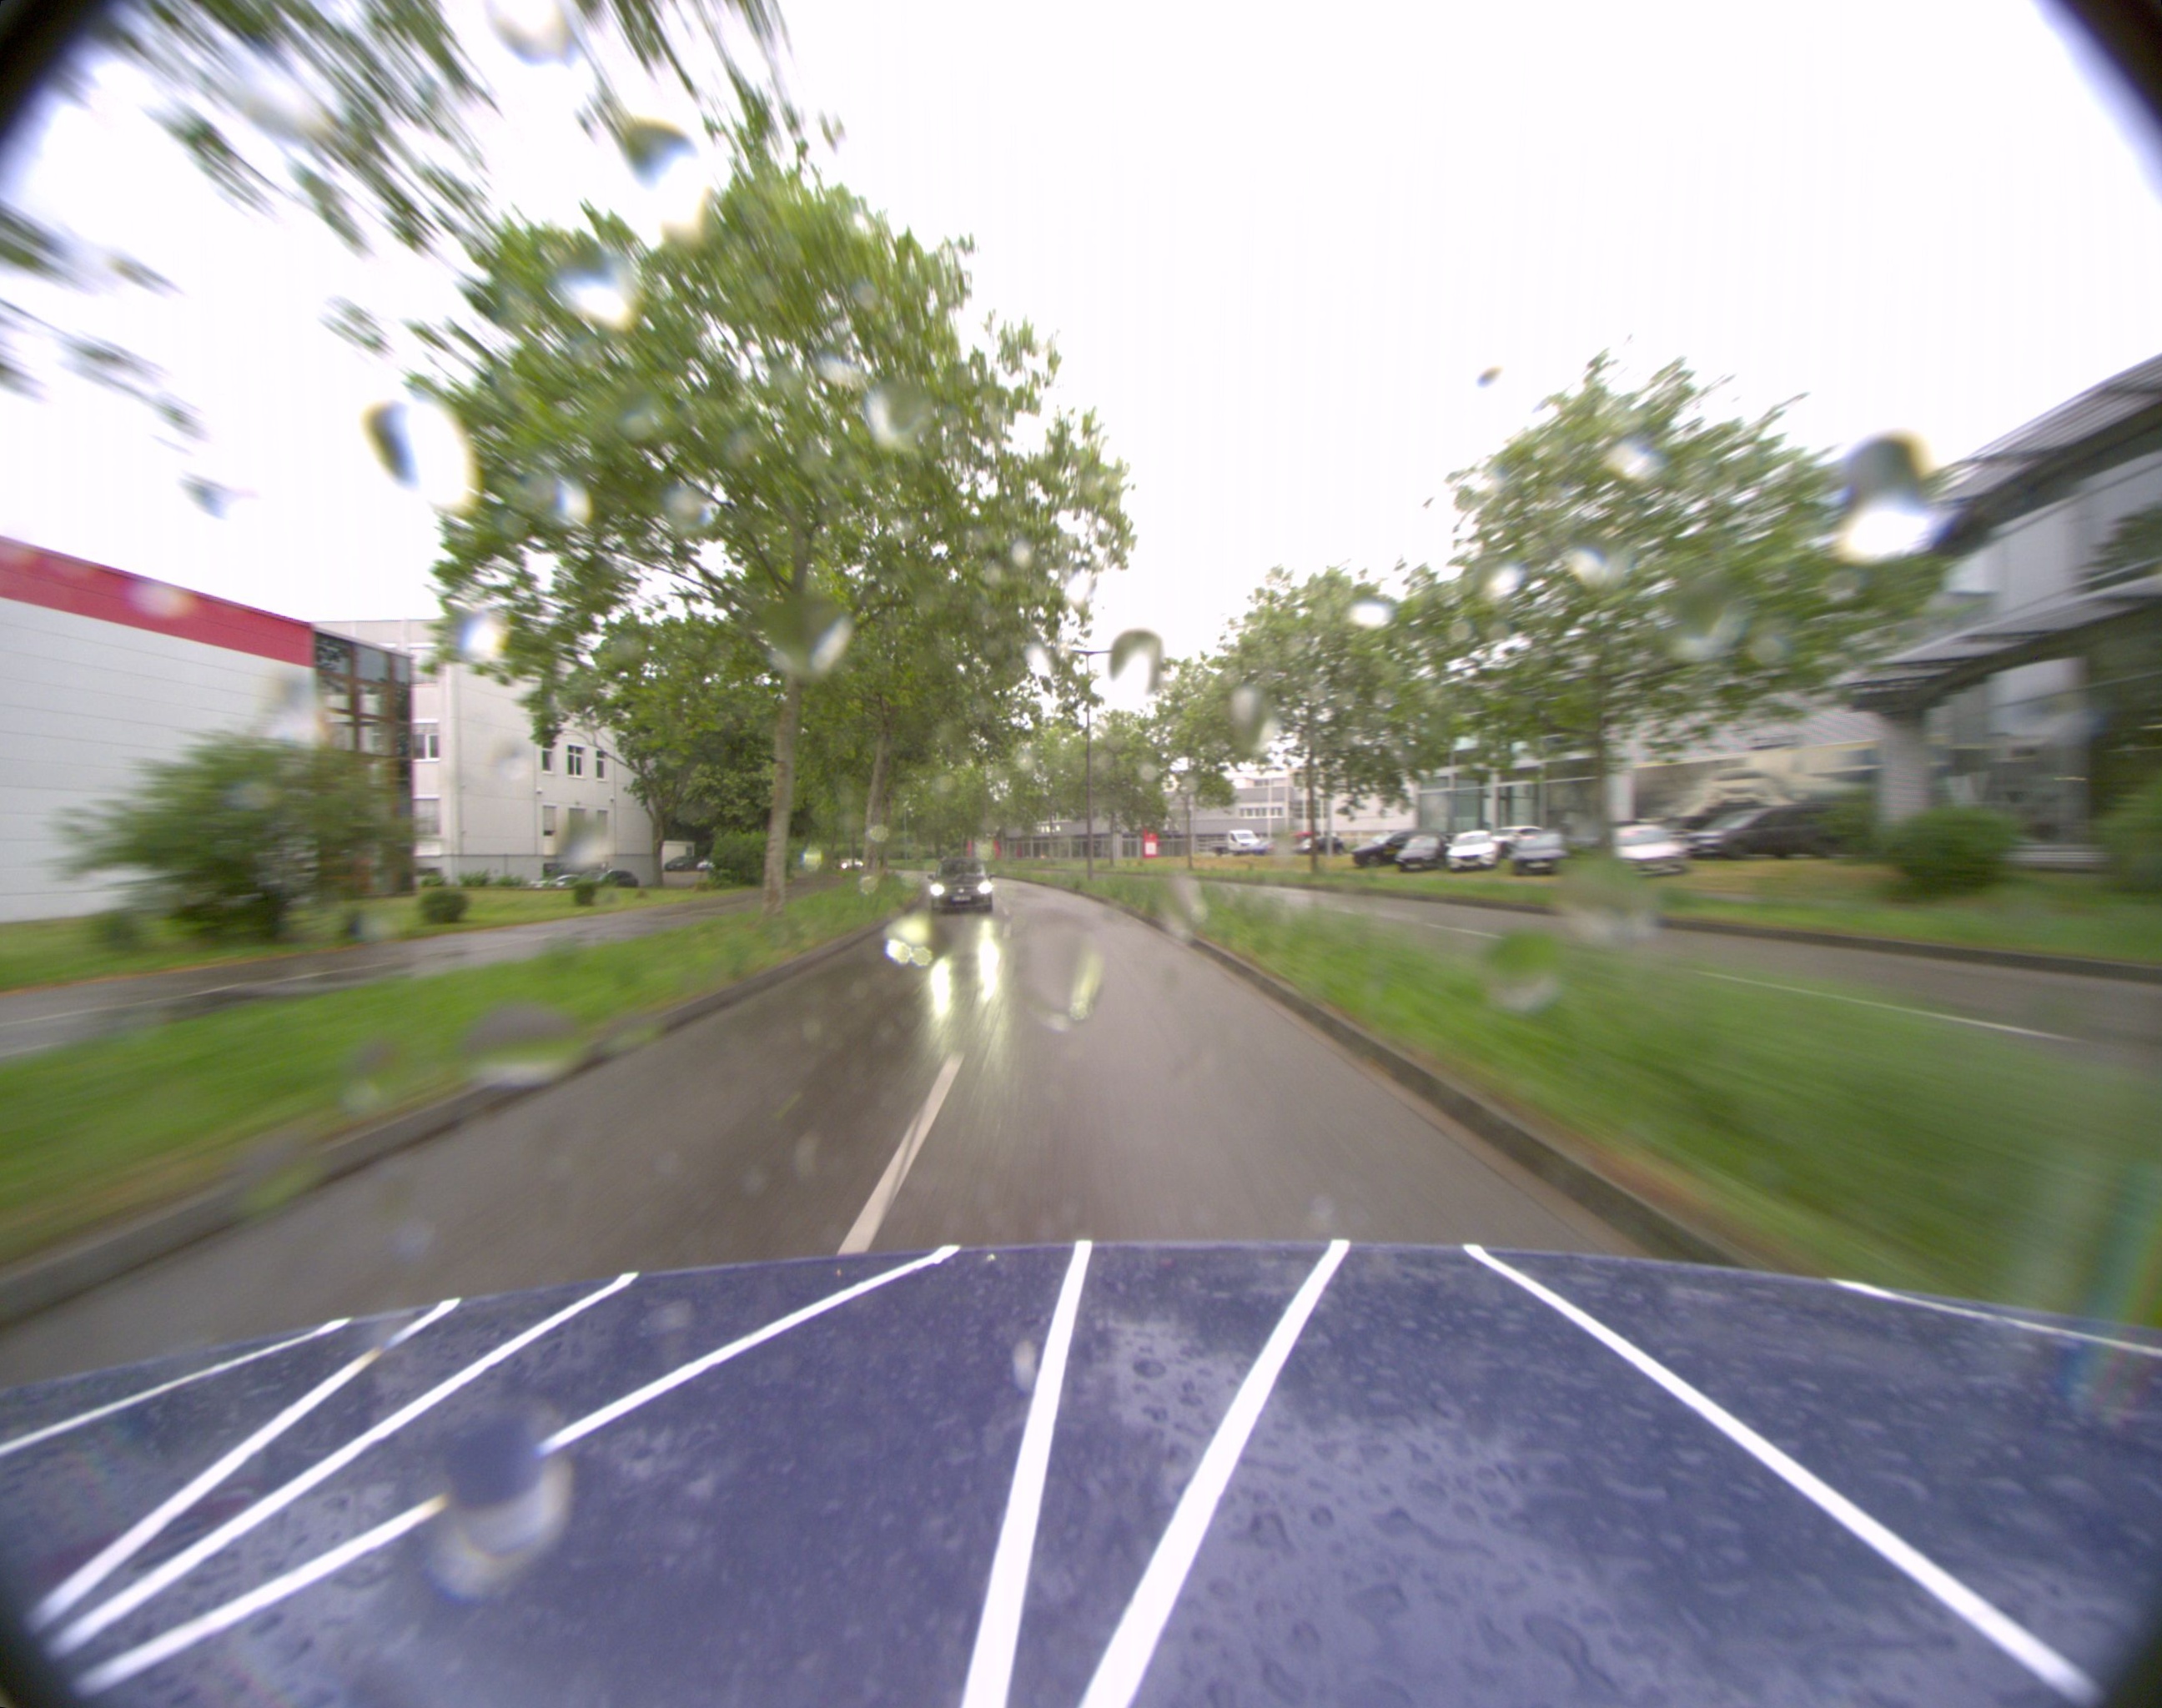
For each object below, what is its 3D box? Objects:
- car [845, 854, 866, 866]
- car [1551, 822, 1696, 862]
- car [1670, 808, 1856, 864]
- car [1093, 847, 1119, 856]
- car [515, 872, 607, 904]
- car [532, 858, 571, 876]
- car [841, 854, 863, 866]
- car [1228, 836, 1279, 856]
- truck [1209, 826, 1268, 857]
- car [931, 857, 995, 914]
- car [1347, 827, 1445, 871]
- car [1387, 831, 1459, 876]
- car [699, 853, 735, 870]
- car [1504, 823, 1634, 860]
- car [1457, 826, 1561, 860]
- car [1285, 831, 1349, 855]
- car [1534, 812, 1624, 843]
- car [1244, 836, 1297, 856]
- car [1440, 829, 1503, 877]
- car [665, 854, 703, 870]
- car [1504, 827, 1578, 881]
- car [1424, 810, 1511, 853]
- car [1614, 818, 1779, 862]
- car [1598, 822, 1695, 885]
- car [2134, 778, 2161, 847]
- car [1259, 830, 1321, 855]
[{"bbox_3d":[-30.792,0.780,103.636,1.788,1.546,3.991,-1,0,-30],"label":"car"},{"bbox_3d":[22.085,-0.486,31.076,4.430,1.465,1.921,-2,1,8],"label":"car"},{"bbox_3d":[23.243,-0.595,26.074,4.430,1.728,1.921,-2,1,8],"label":"car"},{"bbox_3d":[5.162,-0.442,158.506,5.217,1.853,1.797,0,1,30],"label":"car"},{"bbox_3d":[-28.179,1.807,41.336,1.782,1.467,4.114,-1,0,7],"label":"car"},{"bbox_3d":[-41.554,0.993,59.703,1.599,1.350,3.700,-2,1,-20],"label":"car"},{"bbox_3d":[-29.284,0.751,97.205,1.788,1.546,3.991,-1,0,-30],"label":"car"},{"bbox_3d":[13.983,-0.674,61.562,3.536,1.319,1.766,-4,0,-18],"label":"car"},{"bbox_3d":[13.595,-0.994,66.076,2.255,2.331,6.186,-4,0,-17],"label":"truck"},{"bbox_3d":[-3.581,0.902,23.559,1.785,1.546,3.997,-1,0,-7],"label":"car"},{"bbox_3d":[16.345,-0.264,39.646,4.429,1.548,1.848,-8,2,16],"label":"car"},{"bbox_3d":[16.058,-0.039,35.552,1.843,1.471,4.135,-7,2,41],"label":"car"},{"bbox_3d":[-32.875,0.689,68.739,1.597,1.412,3.705,-2,1,-4],"label":"car"},{"bbox_3d":[21.487,-0.535,33.600,4.430,1.465,1.921,-2,1,8],"label":"car"},{"bbox_3d":[20.668,-0.533,36.713,4.440,1.465,1.916,-2,1,-20],"label":"car"},{"bbox_3d":[16.839,-0.786,54.263,4.011,1.349,1.845,-4,0,-18],"label":"car"},{"bbox_3d":[25.675,-1.383,39.138,4.442,1.465,1.916,-2,1,-27],"label":"car"},{"bbox_3d":[14.747,-0.629,59.191,3.536,1.319,1.766,-4,0,-18],"label":"car"},{"bbox_3d":[16.877,-0.078,32.721,1.843,1.471,4.134,-8,2,33],"label":"car"},{"bbox_3d":[-35.480,0.676,67.980,1.597,1.350,3.705,-2,1,-4],"label":"car"},{"bbox_3d":[17.243,-0.040,28.404,1.843,1.415,4.135,-7,2,37],"label":"car"},{"bbox_3d":[27.482,-1.605,54.212,5.326,2.736,2.174,-2,1,24],"label":"car"},{"bbox_3d":[22.907,-0.522,28.434,4.430,1.465,1.921,-2,1,8],"label":"car"},{"bbox_3d":[17.982,-0.063,24.335,1.781,1.467,4.004,-8,2,28],"label":"car"},{"bbox_3d":[23.608,-0.891,14.693,1.781,1.467,4.118,-1,0,19],"label":"car"},{"bbox_3d":[15.620,-0.832,56.826,4.011,1.548,1.845,-4,0,-18],"label":"car"}]
